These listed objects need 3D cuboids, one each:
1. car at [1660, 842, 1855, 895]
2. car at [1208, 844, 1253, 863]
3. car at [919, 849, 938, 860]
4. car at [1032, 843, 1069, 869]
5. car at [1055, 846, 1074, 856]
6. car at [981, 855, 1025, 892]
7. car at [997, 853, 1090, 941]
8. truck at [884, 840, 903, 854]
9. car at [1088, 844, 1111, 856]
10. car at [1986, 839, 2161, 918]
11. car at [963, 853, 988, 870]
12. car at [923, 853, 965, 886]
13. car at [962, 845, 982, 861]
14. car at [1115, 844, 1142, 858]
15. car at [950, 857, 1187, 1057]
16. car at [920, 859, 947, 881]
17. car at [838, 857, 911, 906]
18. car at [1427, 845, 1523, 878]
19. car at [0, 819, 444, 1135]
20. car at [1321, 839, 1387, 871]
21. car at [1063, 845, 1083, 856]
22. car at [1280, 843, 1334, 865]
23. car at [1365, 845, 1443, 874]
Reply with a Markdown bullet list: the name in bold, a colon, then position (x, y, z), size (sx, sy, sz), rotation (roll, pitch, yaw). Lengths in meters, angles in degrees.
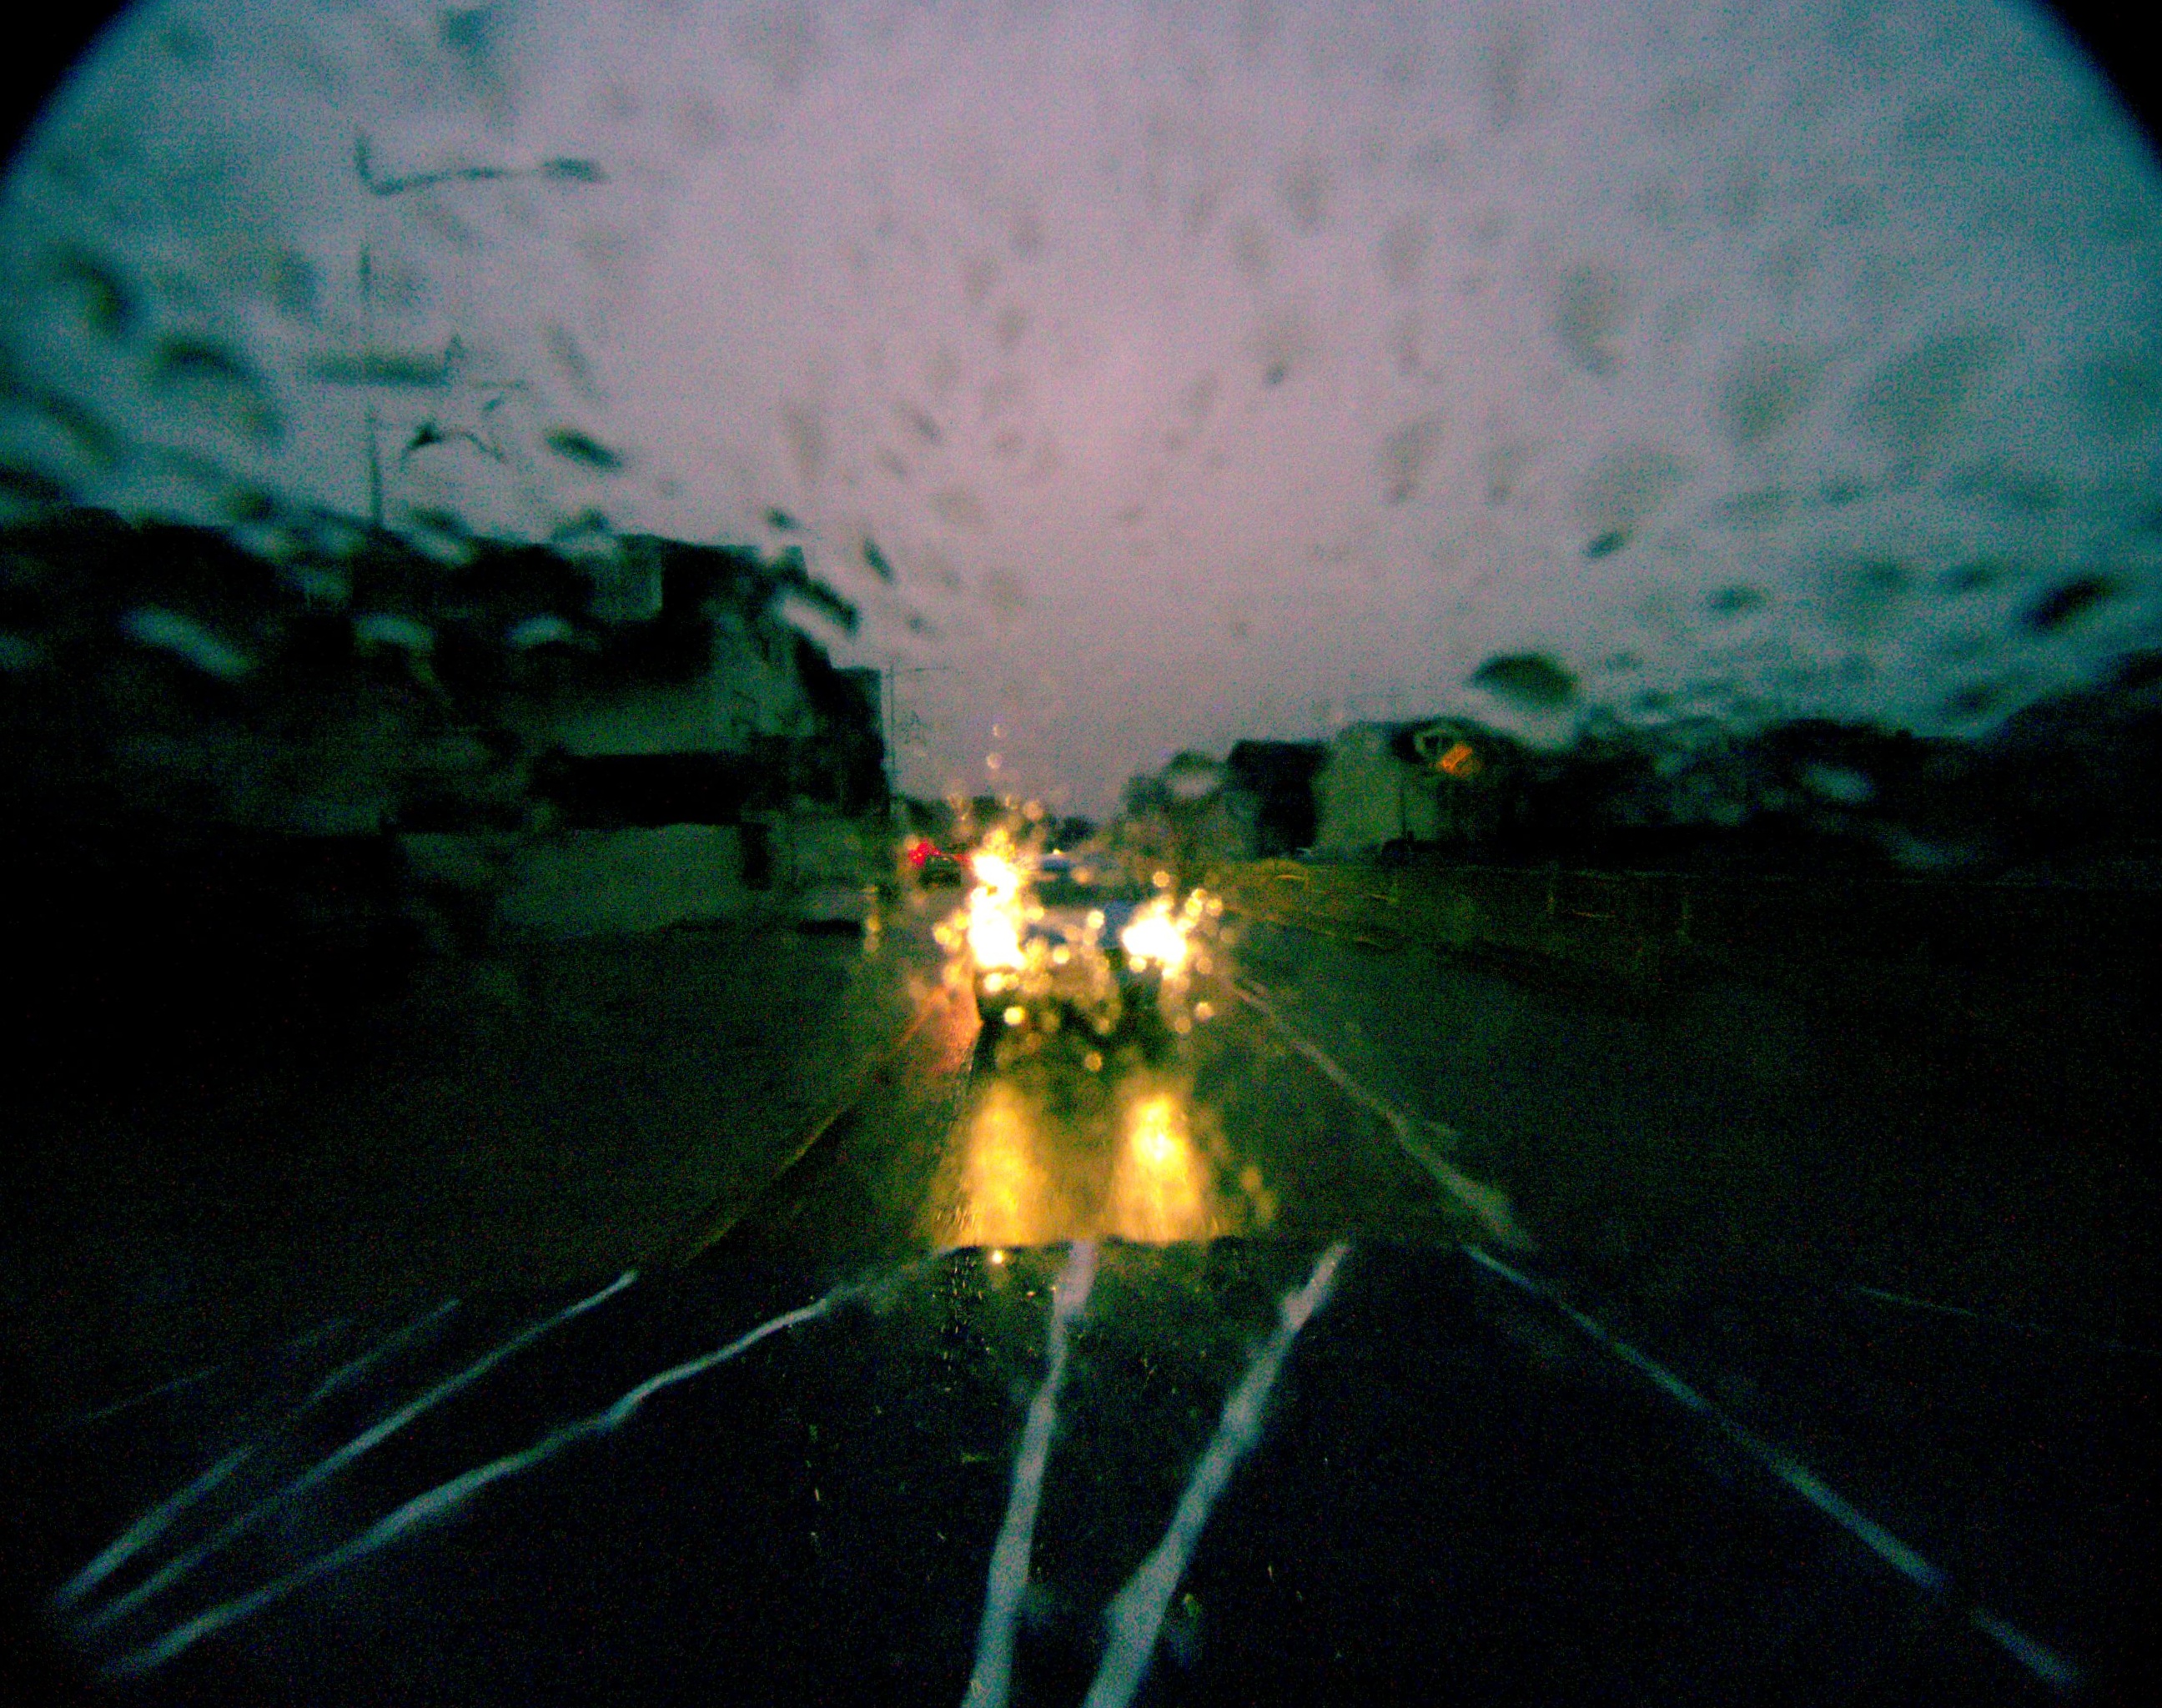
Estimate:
- **car**: position (20.510, 0.383, 23.311), size (1.800, 1.460, 4.253), rotation (-1, 1, -11)
- **car**: position (12.389, -0.029, 63.161), size (1.801, 1.460, 4.609), rotation (-1, 1, -15)
- **car**: position (-20.074, 0.045, 99.974), size (1.756, 1.409, 3.748), rotation (0, -1, -21)
- **car**: position (-2.541, 0.132, 61.871), size (2.001, 2.002, 3.994), rotation (-2, 1, -17)
- **car**: position (-2.496, -0.388, 114.776), size (1.801, 1.460, 4.251), rotation (-1, 1, -15)
- **car**: position (-3.615, 0.862, 34.836), size (1.573, 1.460, 3.612), rotation (-3, 1, -12)
- **car**: position (-0.929, 0.833, 16.452), size (1.682, 1.614, 3.998), rotation (-2, 0, -7)
- **truck**: position (-29.622, -1.091, 119.907), size (2.148, 2.001, 4.528), rotation (0, -1, -22)
- **car**: position (2.374, -0.565, 99.419), size (1.801, 1.460, 4.251), rotation (-1, 1, -15)
- **car**: position (21.262, 0.453, 15.401), size (1.479, 1.500, 3.500), rotation (-1, 1, -8)
- **car**: position (-9.595, 0.702, 68.909), size (1.673, 1.513, 3.994), rotation (0, -1, -18)
- **car**: position (-7.064, 0.780, 39.444), size (1.848, 1.577, 3.766), rotation (-1, 0, -7)
- **car**: position (-14.681, -0.102, 101.798), size (2.001, 2.002, 3.994), rotation (-2, 1, -17)
- **car**: position (5.254, -0.306, 84.410), size (1.801, 1.460, 4.251), rotation (-1, 1, -15)
- **car**: position (-0.089, 0.851, 8.176), size (1.888, 1.569, 4.000), rotation (-1, 0, 0)
- **car**: position (-8.878, 0.938, 45.651), size (1.498, 1.283, 3.287), rotation (-1, 0, -12)
- **car**: position (-6.818, 0.871, 25.456), size (1.777, 1.488, 3.776), rotation (1, 0, -6)
- **car**: position (18.449, 0.320, 35.801), size (1.800, 1.460, 4.253), rotation (-1, 1, -11)
- **car**: position (-7.198, 0.640, 5.024), size (4.152, 1.625, 1.753), rotation (6, 0, -9)
- **car**: position (16.457, 0.013, 46.012), size (1.800, 1.816, 4.252), rotation (-1, 1, -11)
- **car**: position (-1.126, -0.488, 109.932), size (1.801, 1.460, 4.251), rotation (-1, 1, -16)
- **car**: position (15.235, 0.022, 51.473), size (1.677, 1.460, 4.012), rotation (1, 0, -15)
- **car**: position (17.375, 0.258, 41.113), size (1.800, 1.460, 4.253), rotation (-1, 1, -11)
